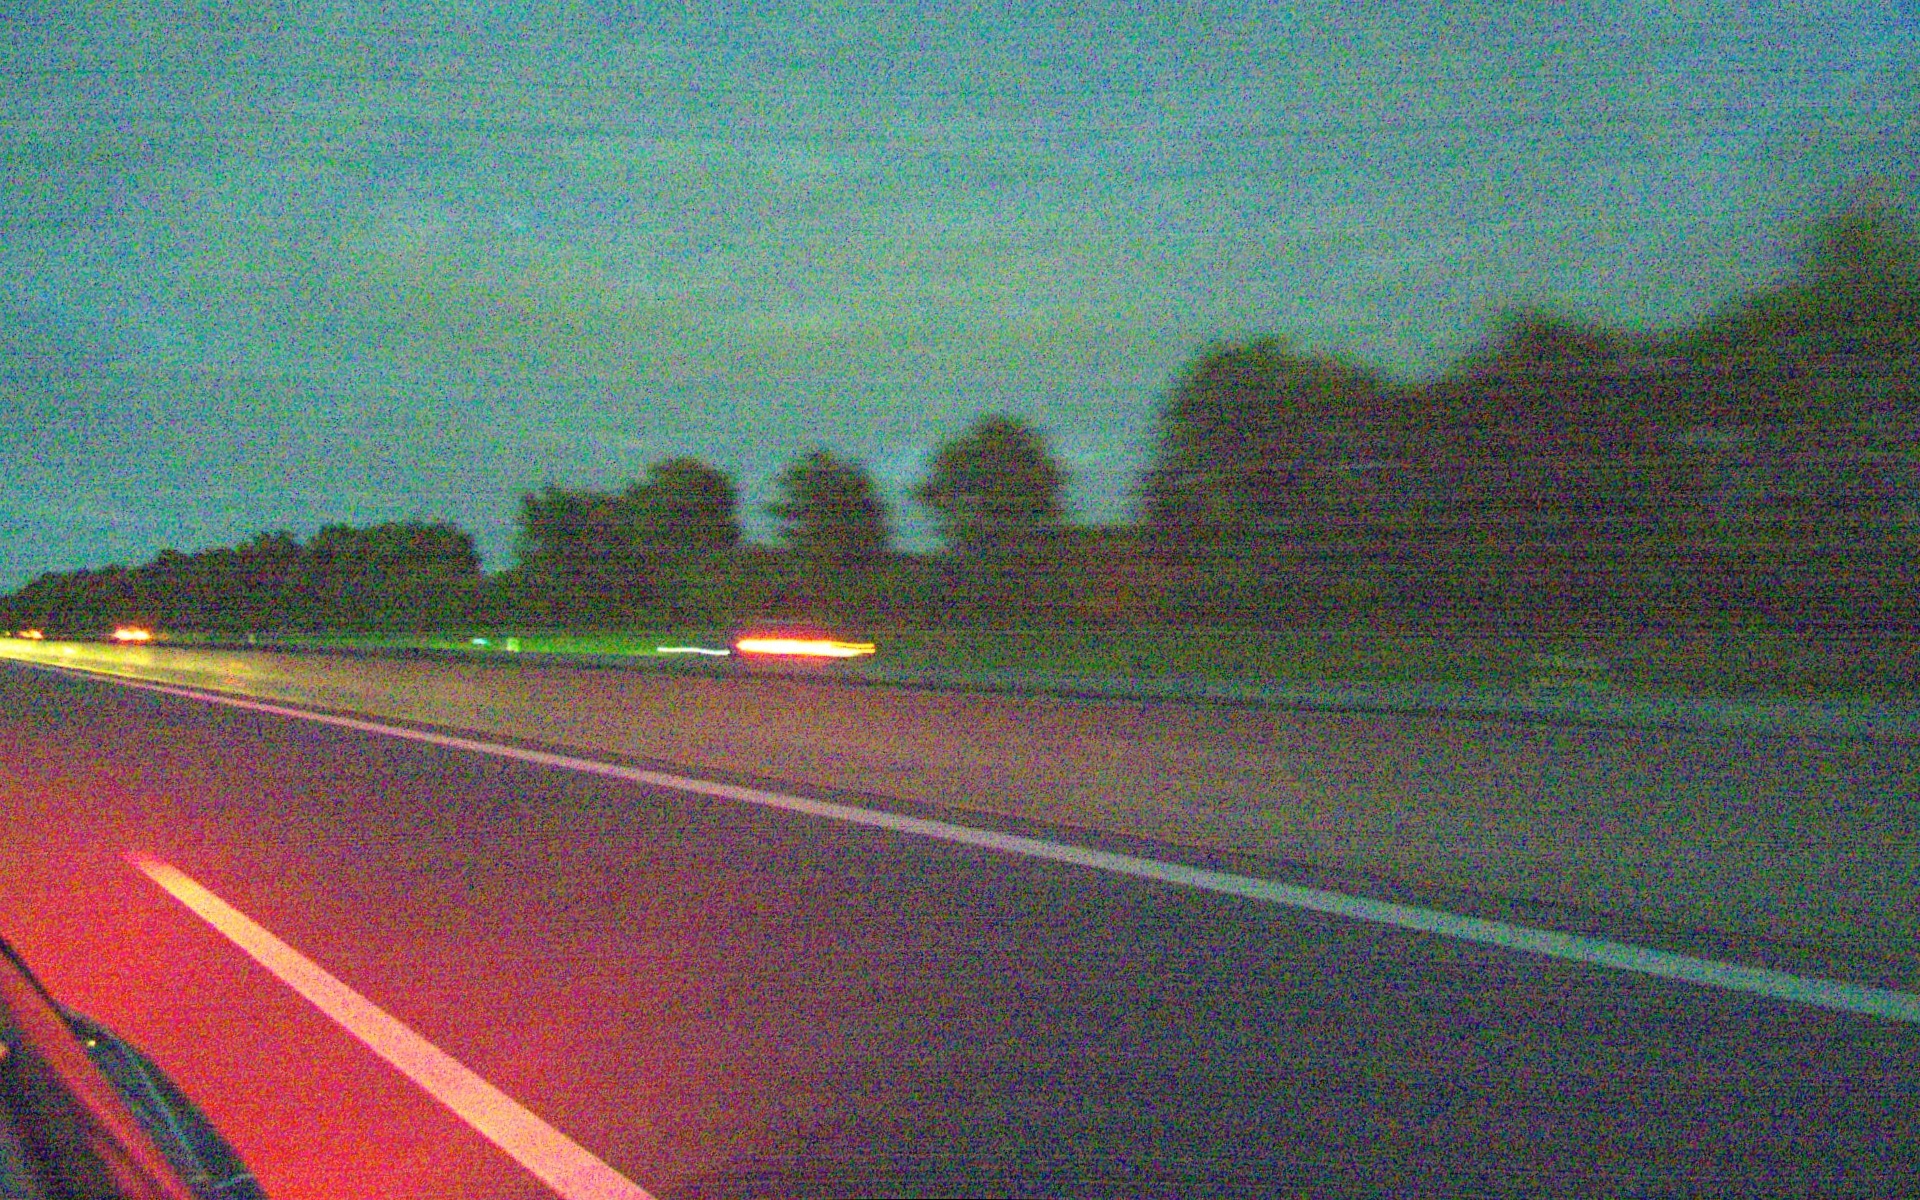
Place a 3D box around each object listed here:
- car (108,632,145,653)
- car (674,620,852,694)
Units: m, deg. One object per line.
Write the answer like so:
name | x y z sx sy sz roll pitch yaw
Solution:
car | -77.246 3.906 93.729 5.044 1.646 1.883 0 2 42
car | -4.799 1.316 24.380 4.400 1.630 1.884 -2 -2 40
